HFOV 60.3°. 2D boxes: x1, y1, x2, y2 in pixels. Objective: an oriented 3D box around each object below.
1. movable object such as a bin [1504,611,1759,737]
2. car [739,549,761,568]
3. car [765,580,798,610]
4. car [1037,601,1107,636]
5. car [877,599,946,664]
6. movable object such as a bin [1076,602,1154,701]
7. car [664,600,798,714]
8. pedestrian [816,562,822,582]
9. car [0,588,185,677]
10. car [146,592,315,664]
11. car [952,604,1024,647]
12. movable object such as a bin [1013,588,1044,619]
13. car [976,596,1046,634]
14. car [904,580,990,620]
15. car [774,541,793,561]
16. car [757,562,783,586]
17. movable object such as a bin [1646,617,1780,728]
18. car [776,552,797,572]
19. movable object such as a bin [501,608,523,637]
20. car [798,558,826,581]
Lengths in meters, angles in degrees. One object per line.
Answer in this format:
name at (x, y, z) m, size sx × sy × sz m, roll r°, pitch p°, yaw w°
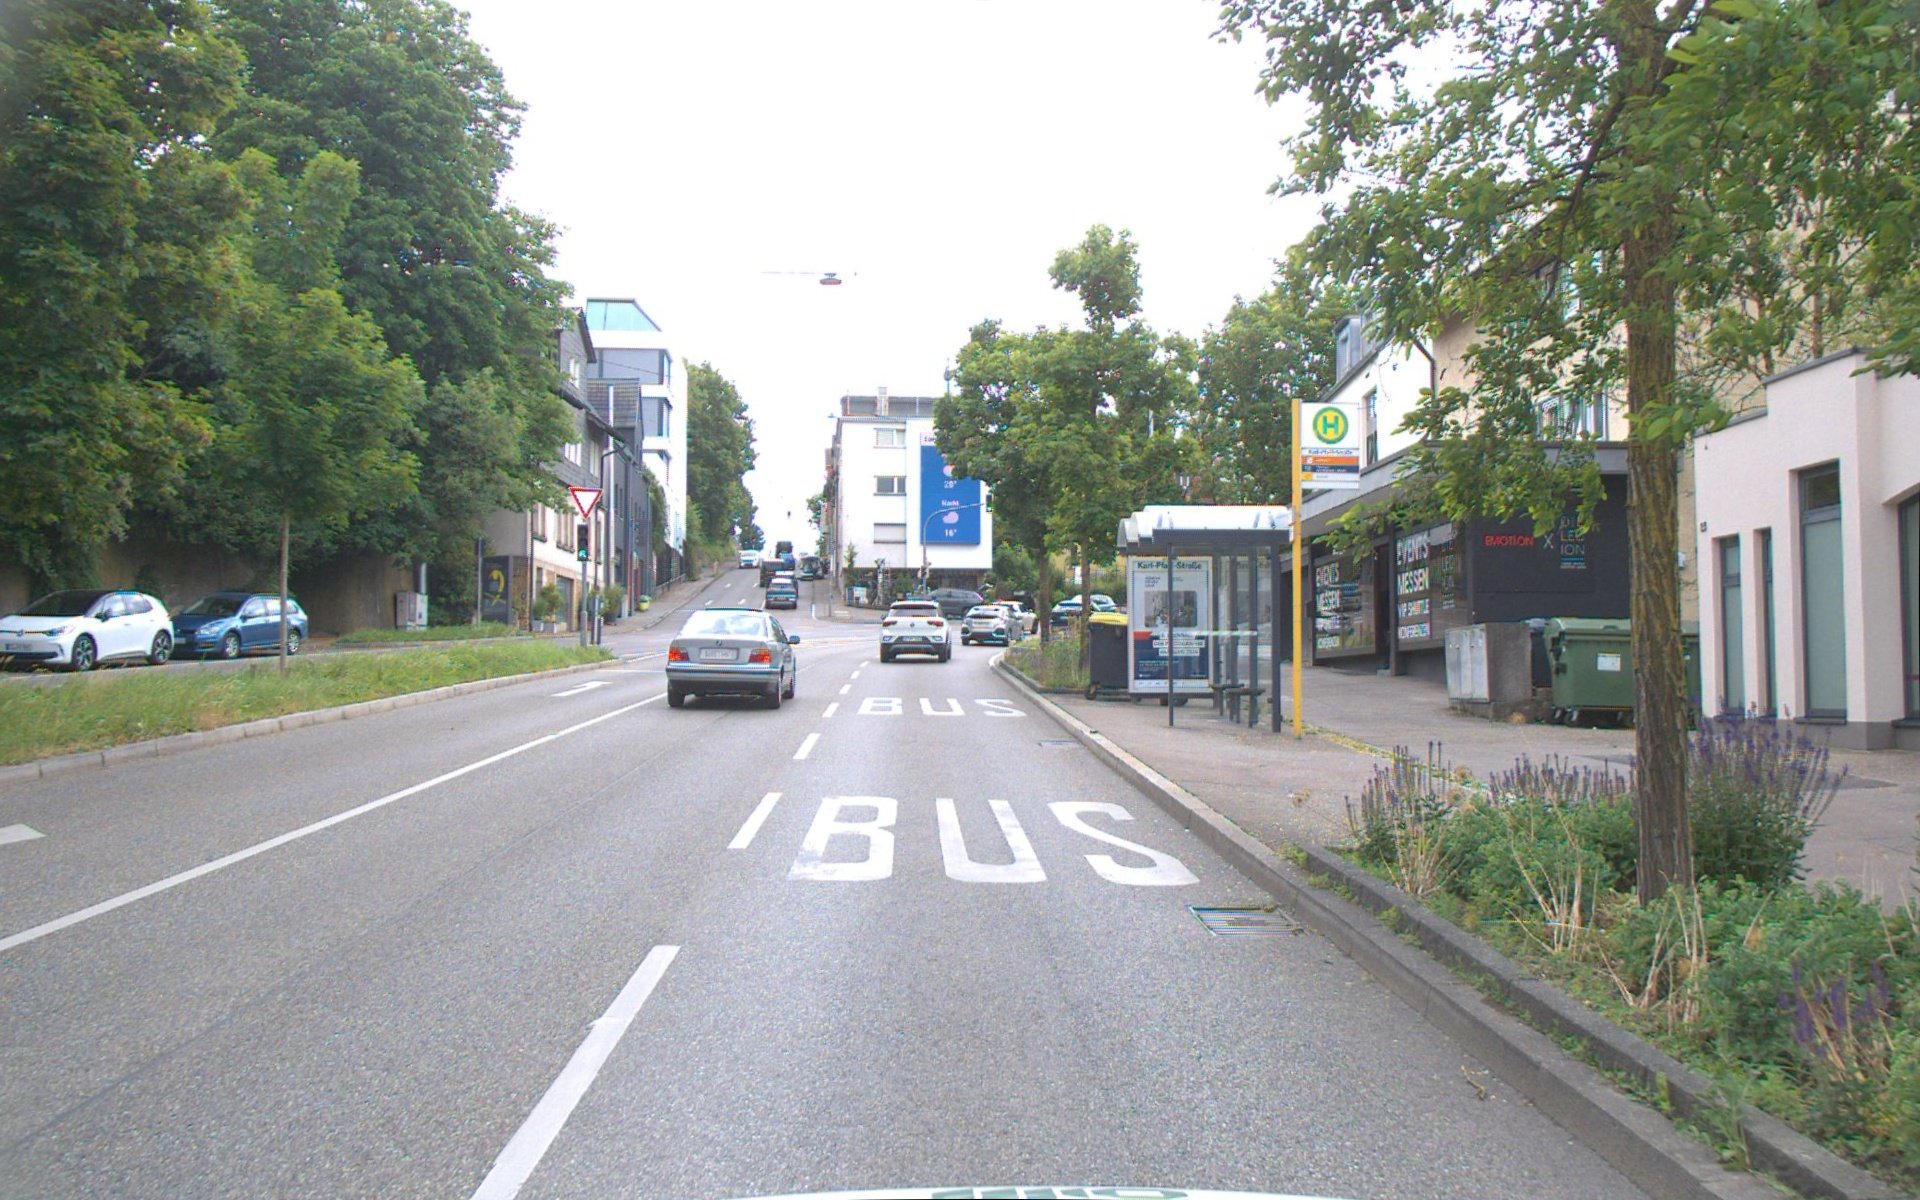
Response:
movable object such as a bin at (8.961, 0.928, 22.448) m, size 1.850 × 1.477 × 4.000 m, roll 1°, pitch 0°, yaw 0°
car at (-19.082, -3.751, 150.203) m, size 1.846 × 1.594 × 4.385 m, roll 0°, pitch 3°, yaw -6°
car at (-10.038, -0.287, 93.272) m, size 1.745 × 1.606 × 3.996 m, roll 1°, pitch 1°, yaw -5°
car at (4.965, 0.803, 72.723) m, size 1.758 × 1.434 × 3.998 m, roll 1°, pitch 0°, yaw 24°
car at (-1.304, 0.802, 43.757) m, size 1.744 × 1.606 × 3.998 m, roll 0°, pitch 0°, yaw -2°
movable object such as a bin at (2.442, 0.797, 26.268) m, size 1.063 × 1.507 × 1.536 m, roll 1°, pitch 0°, yaw -1°
car at (-3.334, 0.780, 24.683) m, size 1.673 × 1.489 × 3.997 m, roll 1°, pitch 1°, yaw -4°
pedestrian at (-10.792, -2.128, 126.730) m, size 0.449 × 1.556 × 0.526 m, roll 1°, pitch -1°, yaw -4°
car at (-17.680, 0.601, 33.546) m, size 1.742 × 1.657 × 4.172 m, roll 1°, pitch 1°, yaw 3°
car at (-17.148, 0.619, 39.095) m, size 1.676 × 1.555 × 4.304 m, roll 1°, pitch 1°, yaw 6°
car at (1.082, 0.914, 61.068) m, size 1.742 × 1.434 × 4.003 m, roll 1°, pitch 1°, yaw 14°
movable object such as a bin at (4.105, 0.209, 98.954) m, size 1.725 × 1.810 × 1.856 m, roll 0°, pitch 0°, yaw 8°
car at (2.275, 0.643, 72.848) m, size 1.744 × 1.606 × 3.999 m, roll 1°, pitch 0°, yaw 23°
car at (-0.760, -0.009, 93.722) m, size 4.598 × 1.741 × 2.317 m, roll 5°, pitch 3°, yaw -5°
car at (-19.378, -5.410, 182.033) m, size 1.955 × 2.049 × 3.996 m, roll 1°, pitch 0°, yaw -5°
car at (-13.423, -1.837, 117.080) m, size 1.745 × 1.606 × 3.996 m, roll 0°, pitch 0°, yaw -5°
movable object such as a bin at (10.267, 0.973, 22.596) m, size 1.313 × 1.434 × 1.128 m, roll 1°, pitch 0°, yaw 0°
car at (-15.370, -3.356, 146.452) m, size 1.745 × 1.607 × 3.995 m, roll 1°, pitch 0°, yaw -5°
movable object such as a bin at (-16.515, 0.839, 60.934) m, size 0.526 × 1.037 × 0.647 m, roll 0°, pitch -2°, yaw 12°
car at (-11.435, -2.348, 127.958) m, size 2.048 × 1.641 × 3.997 m, roll 1°, pitch 0°, yaw -4°
